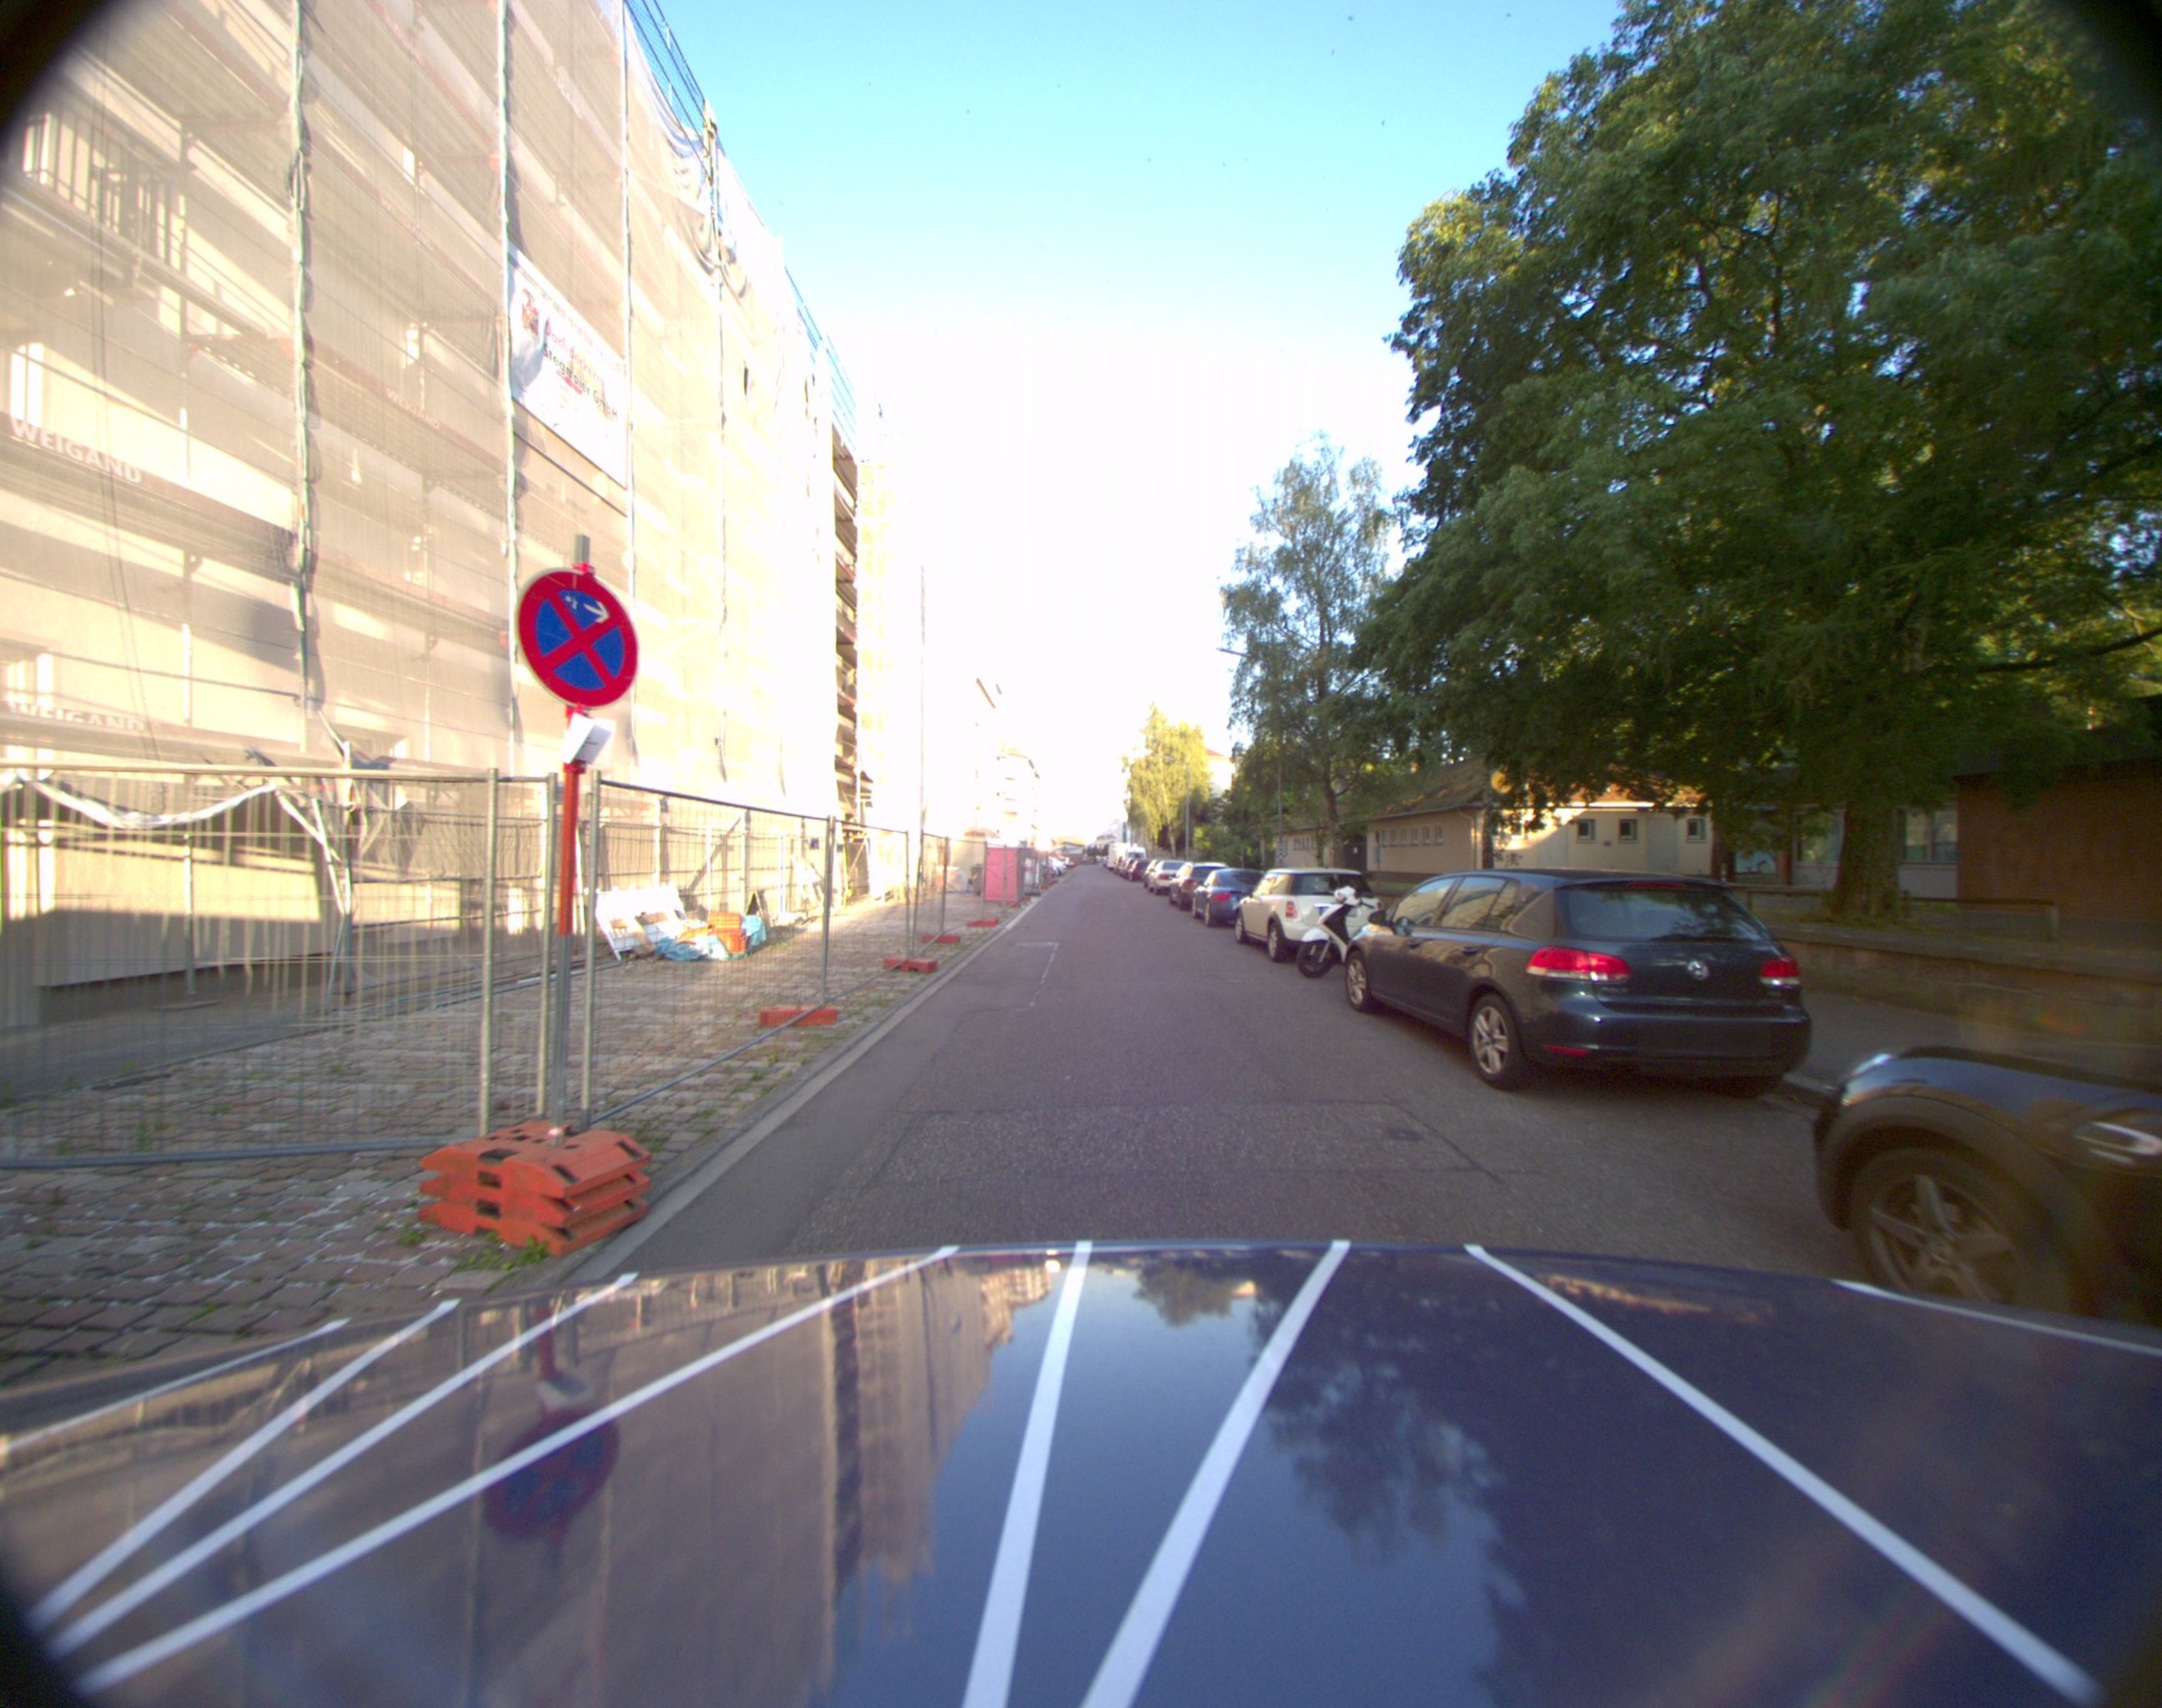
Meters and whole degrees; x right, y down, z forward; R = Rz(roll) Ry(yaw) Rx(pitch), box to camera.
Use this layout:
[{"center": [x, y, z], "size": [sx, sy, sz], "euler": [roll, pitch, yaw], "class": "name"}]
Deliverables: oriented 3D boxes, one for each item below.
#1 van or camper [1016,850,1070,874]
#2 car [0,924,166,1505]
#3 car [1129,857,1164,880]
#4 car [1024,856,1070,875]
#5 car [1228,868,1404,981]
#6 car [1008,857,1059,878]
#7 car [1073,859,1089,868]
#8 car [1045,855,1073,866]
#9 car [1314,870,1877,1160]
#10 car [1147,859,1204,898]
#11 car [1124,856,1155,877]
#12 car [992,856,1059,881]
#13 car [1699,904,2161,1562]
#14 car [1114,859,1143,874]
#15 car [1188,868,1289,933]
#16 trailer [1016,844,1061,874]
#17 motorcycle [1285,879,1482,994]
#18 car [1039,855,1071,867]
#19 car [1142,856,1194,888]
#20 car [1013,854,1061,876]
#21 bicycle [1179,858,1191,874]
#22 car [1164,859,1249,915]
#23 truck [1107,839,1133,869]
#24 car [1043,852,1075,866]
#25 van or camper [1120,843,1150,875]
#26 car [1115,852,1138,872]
[{"center": [-3.502, 0.730, 69.988], "size": [4.846, 2.084, 2.040], "euler": [0, 0, 0], "class": "van or camper"}, {"center": [-4.816, 0.914, 1.239], "size": [3.998, 1.507, 2.019], "euler": [2, 0, -4], "class": "car"}, {"center": [4.230, 0.913, 49.716], "size": [1.998, 1.444, 4.288], "euler": [-1, 0, 1], "class": "car"}, {"center": [-3.009, 1.028, 67.253], "size": [3.997, 1.630, 1.999], "euler": [0, 1, -1], "class": "car"}, {"center": [3.609, 1.017, 12.391], "size": [1.605, 1.423, 3.803], "euler": [2, 0, -1], "class": "car"}, {"center": [-3.723, 1.027, 59.996], "size": [3.998, 1.628, 1.903], "euler": [0, 0, -2], "class": "car"}, {"center": [0.008, 1.659, 131.884], "size": [2.000, 1.481, 4.427], "euler": [-1, 0, -11], "class": "car"}, {"center": [-3.207, 0.932, 110.583], "size": [3.998, 1.619, 1.784], "euler": [0, 0, -2], "class": "car"}, {"center": [3.511, 0.938, 6.380], "size": [1.720, 1.487, 4.360], "euler": [1, 0, 0], "class": "car"}, {"center": [3.887, 0.963, 32.071], "size": [1.787, 1.437, 4.748], "euler": [2, 0, 0], "class": "car"}, {"center": [4.243, 0.882, 56.019], "size": [1.998, 1.510, 4.789], "euler": [-1, 0, 1], "class": "car"}, {"center": [-3.608, 0.918, 49.998], "size": [4.163, 1.606, 1.872], "euler": [0, 0, 2], "class": "car"}, {"center": [3.385, 0.966, 1.189], "size": [1.641, 1.469, 3.993], "euler": [1, 0, 2], "class": "car"}, {"center": [4.190, 1.078, 67.102], "size": [1.999, 1.182, 4.035], "euler": [-1, 0, -4], "class": "car"}, {"center": [3.700, 1.048, 18.548], "size": [1.663, 1.306, 4.155], "euler": [1, 0, 1], "class": "car"}, {"center": [-3.474, 0.410, 62.522], "size": [3.577, 2.323, 1.940], "euler": [2, 0, -2], "class": "trailer"}, {"center": [3.660, 0.984, 9.417], "size": [2.167, 1.296, 0.881], "euler": [-1, 1, 15], "class": "motorcycle"}, {"center": [-3.597, 0.957, 105.577], "size": [4.311, 1.532, 1.923], "euler": [0, 0, 2], "class": "car"}, {"center": [4.245, 0.855, 37.740], "size": [1.999, 1.444, 3.999], "euler": [-1, 0, -2], "class": "car"}, {"center": [-3.700, 0.918, 64.621], "size": [3.997, 1.718, 1.999], "euler": [0, 1, -1], "class": "car"}, {"center": [7.505, 0.838, 54.894], "size": [0.544, 1.111, 1.955], "euler": [-1, 0, -1], "class": "bicycle"}, {"center": [3.808, 0.937, 23.834], "size": [1.864, 1.529, 4.758], "euler": [1, 0, 0], "class": "car"}, {"center": [4.530, 0.032, 90.042], "size": [2.532, 3.334, 8.017], "euler": [2, 0, 0], "class": "truck"}, {"center": [-3.203, 0.751, 113.352], "size": [4.685, 1.988, 2.000], "euler": [0, 0, 1], "class": "car"}, {"center": [4.330, 0.390, 61.890], "size": [1.998, 2.442, 6.083], "euler": [0, 0, 0], "class": "van or camper"}, {"center": [4.315, 0.771, 72.710], "size": [1.915, 1.777, 4.949], "euler": [1, 0, -1], "class": "car"}]
